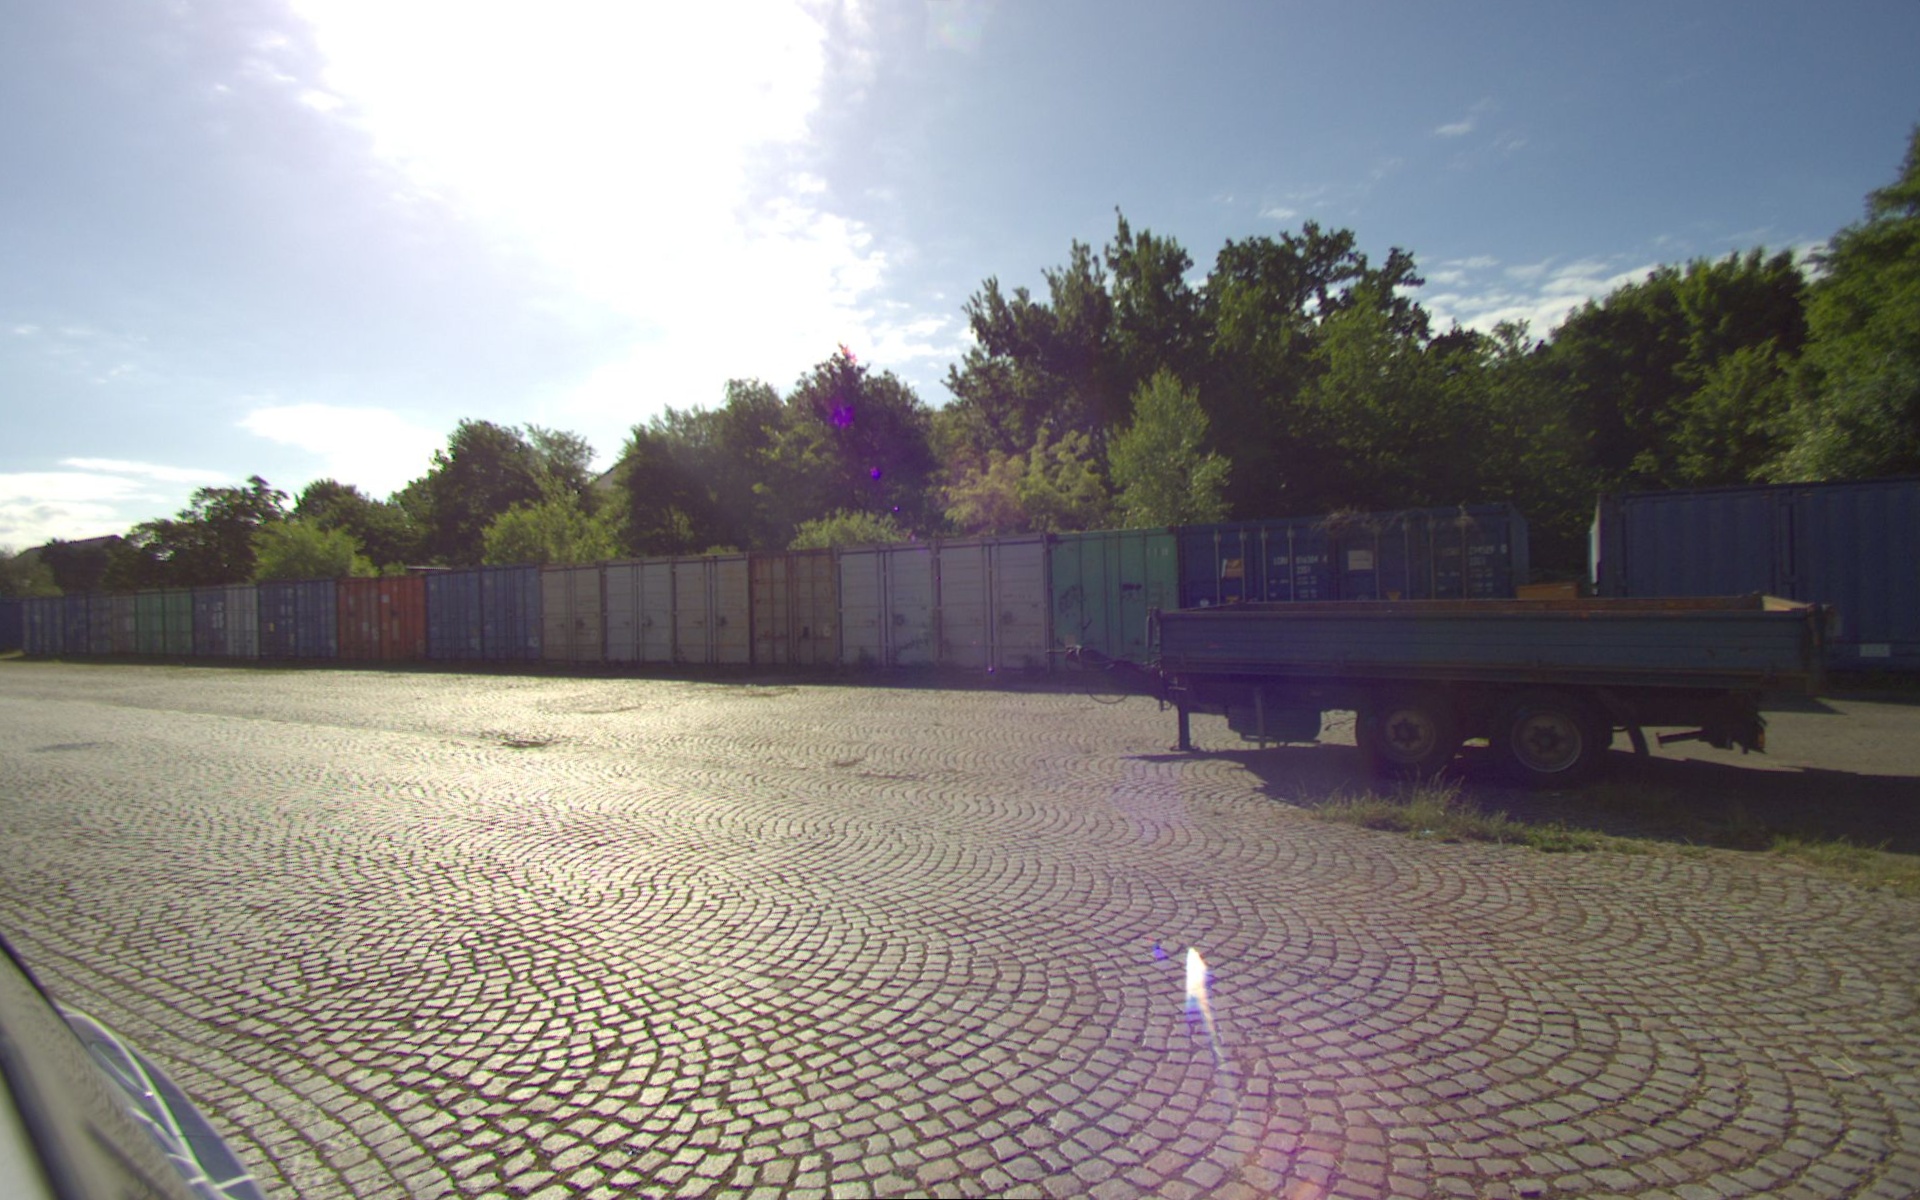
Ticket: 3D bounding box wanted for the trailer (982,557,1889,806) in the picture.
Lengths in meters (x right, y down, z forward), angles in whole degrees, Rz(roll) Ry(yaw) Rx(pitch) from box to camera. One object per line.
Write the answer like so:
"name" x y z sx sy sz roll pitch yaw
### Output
"trailer" 3.703 0.578 9.177 6.473 1.529 2.824 -3 0 33
